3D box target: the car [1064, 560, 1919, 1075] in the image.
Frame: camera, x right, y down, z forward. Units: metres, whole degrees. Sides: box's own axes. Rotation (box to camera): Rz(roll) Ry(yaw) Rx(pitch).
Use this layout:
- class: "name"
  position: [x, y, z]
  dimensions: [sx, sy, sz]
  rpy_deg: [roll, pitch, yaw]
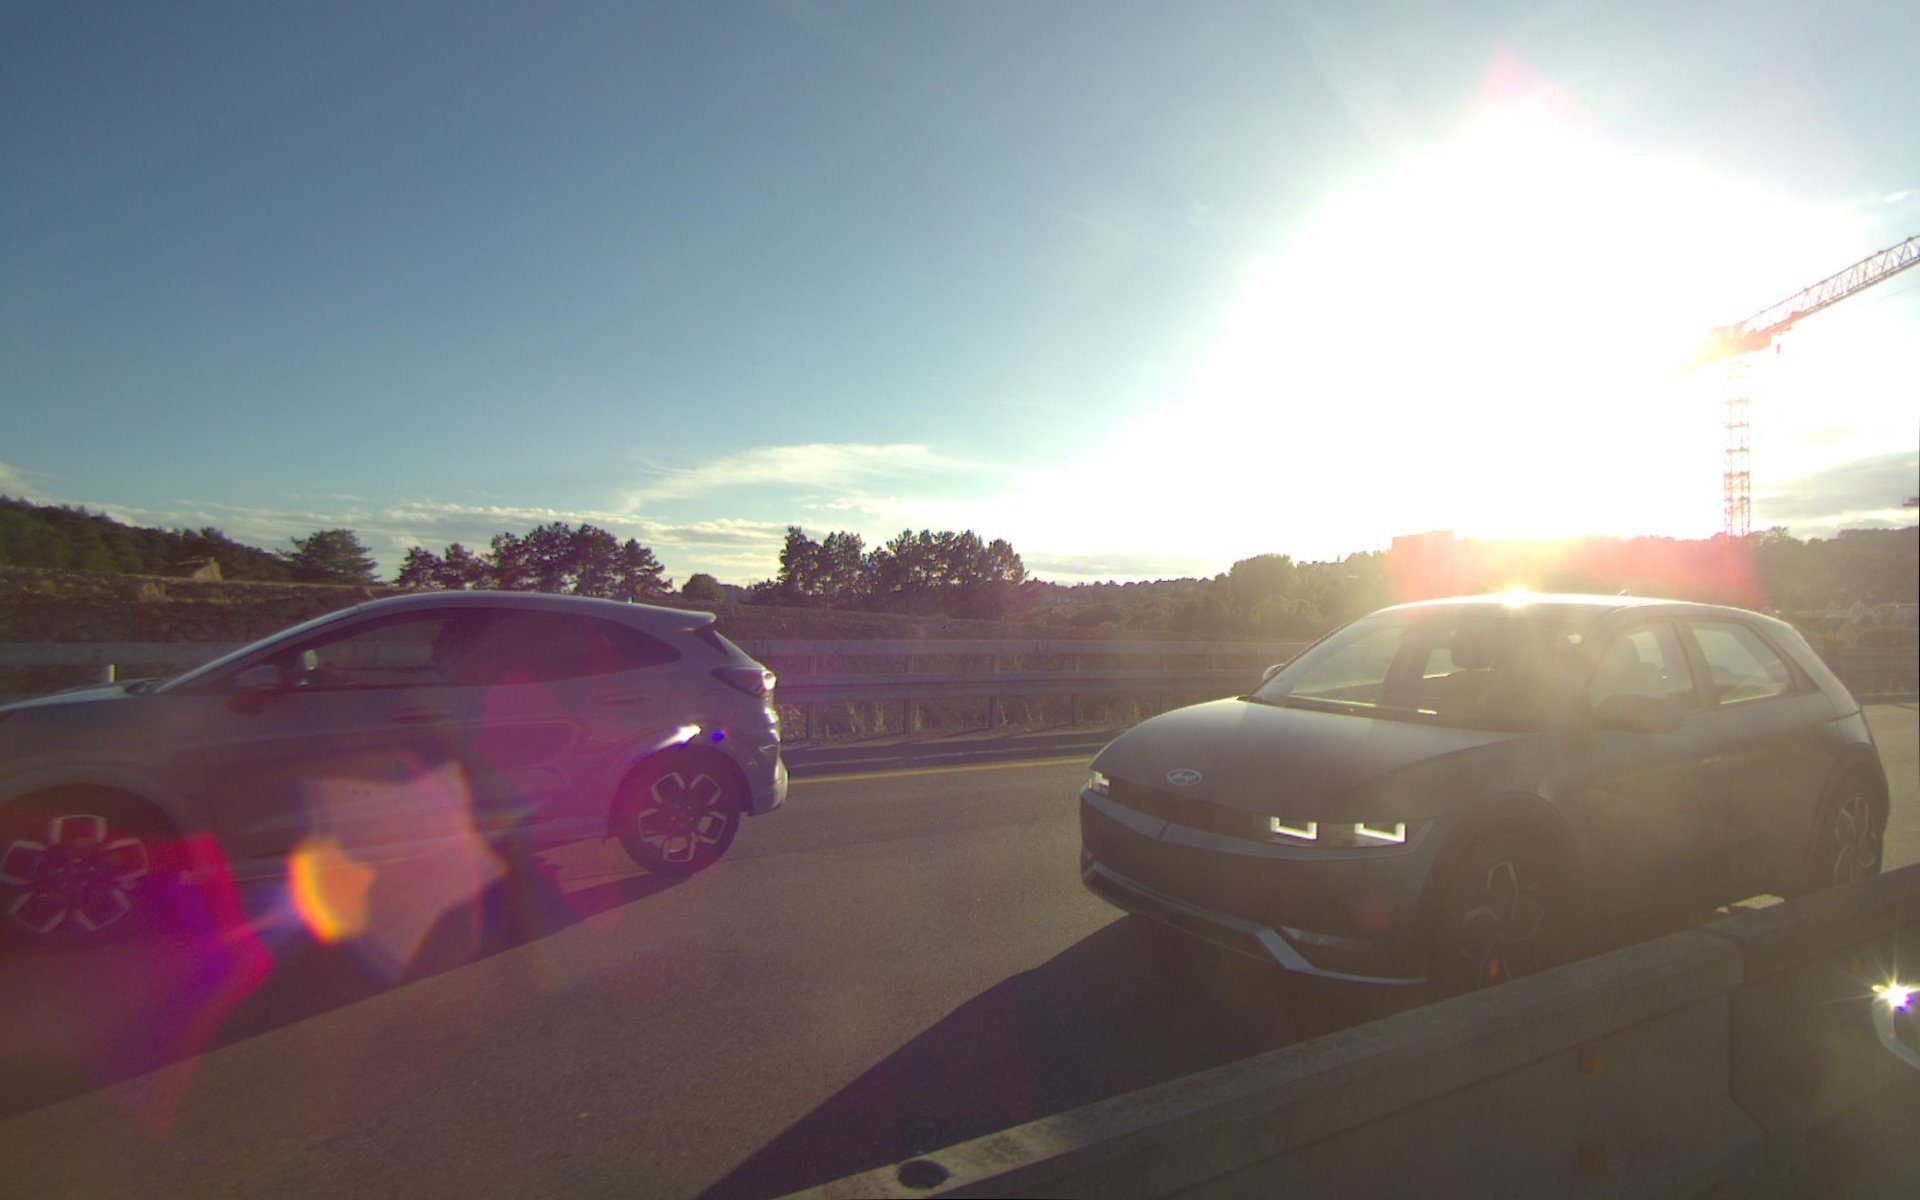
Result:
- class: "car"
  position: [2.919, 0.736, 5.072]
  dimensions: [4.650, 1.604, 1.734]
  rpy_deg: [1, -1, -30]

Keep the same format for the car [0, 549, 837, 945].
- class: "car"
  position: [-2.972, 0.632, 5.546]
  dimensions: [4.244, 1.589, 1.683]
  rpy_deg: [1, -1, -31]
